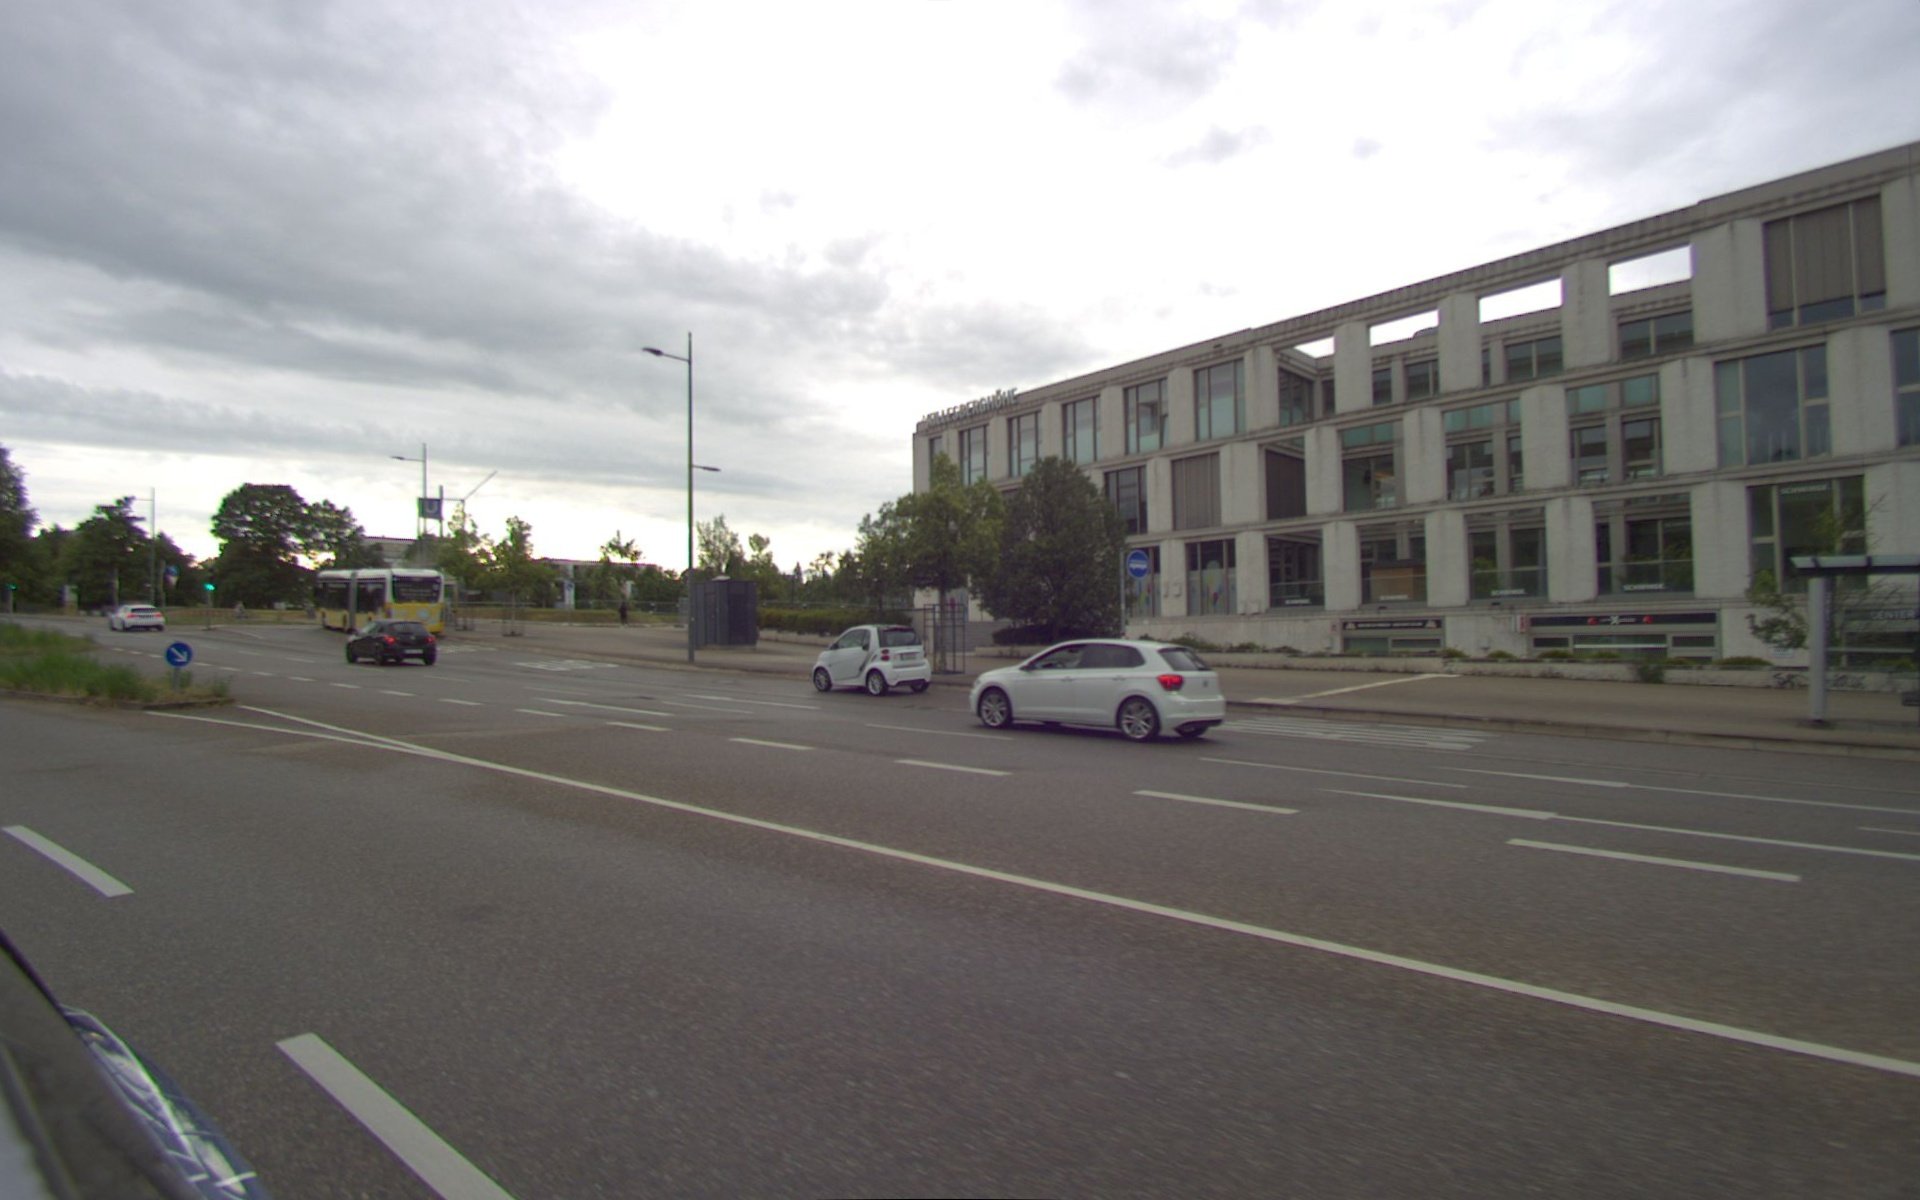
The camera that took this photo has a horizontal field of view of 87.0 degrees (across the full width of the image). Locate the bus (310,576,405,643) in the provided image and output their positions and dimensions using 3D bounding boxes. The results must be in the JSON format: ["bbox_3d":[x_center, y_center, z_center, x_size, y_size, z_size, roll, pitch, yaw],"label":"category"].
[{"bbox_3d":[-34.328,0.408,57.451,2.787,3.498,9.988,-1,1,-41],"label":"bus"}]

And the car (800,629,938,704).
[{"bbox_3d":[-2.140,1.484,23.465,2.971,1.519,1.597,0,0,41],"label":"car"}]

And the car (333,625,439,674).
[{"bbox_3d":[-18.773,1.589,33.053,3.865,1.473,1.827,0,-2,41],"label":"car"}]

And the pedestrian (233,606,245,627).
[{"bbox_3d":[-56.985,1.307,79.975,0.811,1.606,0.608,-3,-2,36],"label":"pedestrian"}]

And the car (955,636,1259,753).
[{"bbox_3d":[2.112,1.326,15.186,4.174,1.441,1.853,0,-4,41],"label":"car"}]

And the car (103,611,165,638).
[{"bbox_3d":[-45.838,1.326,56.142,4.511,1.429,1.973,0,-1,41],"label":"car"}]

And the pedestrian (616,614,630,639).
[{"bbox_3d":[-20.896,1.659,62.730,0.663,1.541,0.485,-3,-2,36],"label":"pedestrian"}]

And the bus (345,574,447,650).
[{"bbox_3d":[-28.310,0.508,50.603,2.787,3.498,8.242,-1,1,-42],"label":"bus"}]
